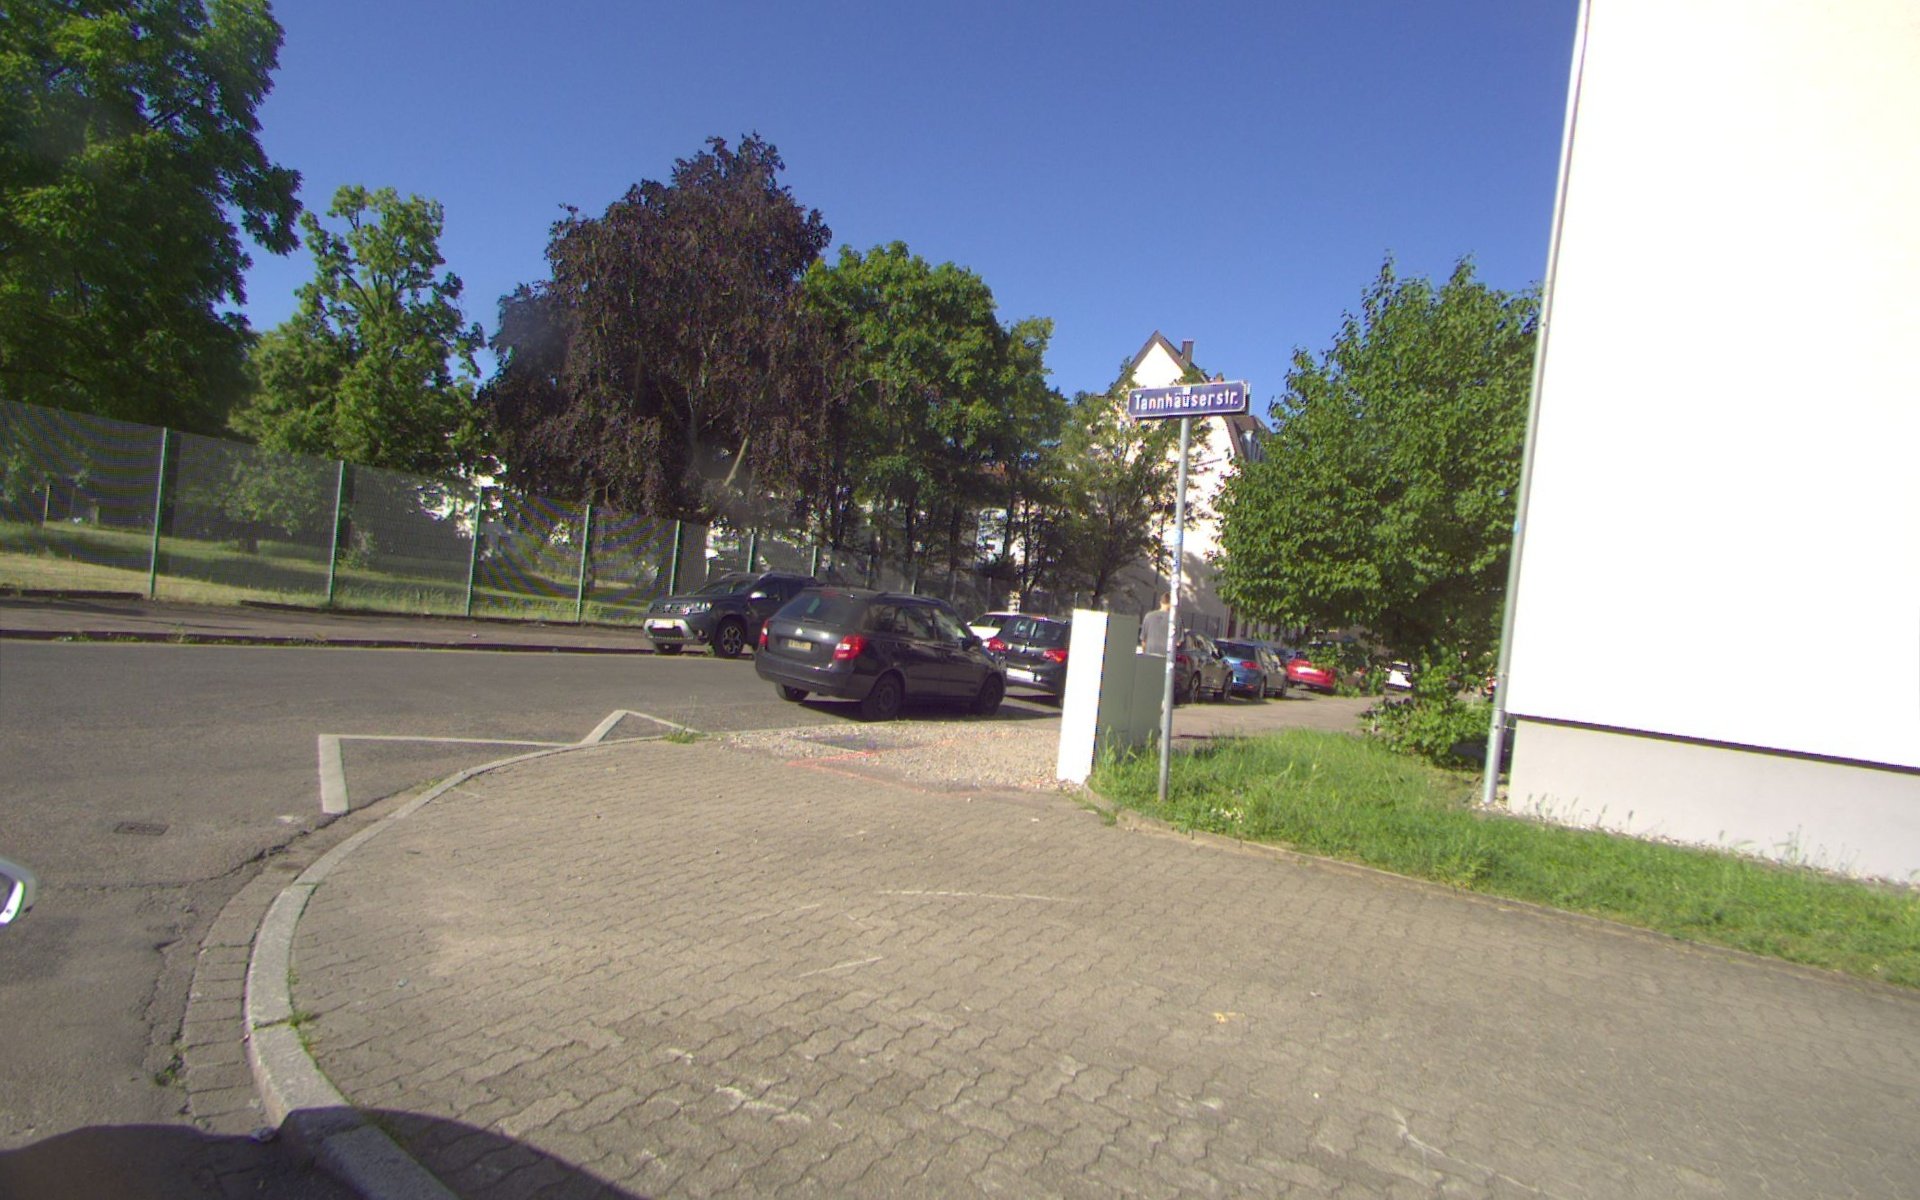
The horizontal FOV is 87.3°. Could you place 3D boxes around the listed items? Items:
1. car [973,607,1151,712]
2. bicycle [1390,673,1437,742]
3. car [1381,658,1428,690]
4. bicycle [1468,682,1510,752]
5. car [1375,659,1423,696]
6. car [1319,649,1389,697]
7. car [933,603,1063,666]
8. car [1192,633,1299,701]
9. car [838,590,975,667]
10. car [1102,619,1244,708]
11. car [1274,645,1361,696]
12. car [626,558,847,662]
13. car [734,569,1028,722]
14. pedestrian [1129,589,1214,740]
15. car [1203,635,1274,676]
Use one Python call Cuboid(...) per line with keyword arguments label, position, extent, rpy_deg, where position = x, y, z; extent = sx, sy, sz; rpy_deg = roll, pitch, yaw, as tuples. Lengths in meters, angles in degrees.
Cuboid(label="car", position=(1.928, 1.075, 17.901), extent=(1.583, 1.502, 3.791), rpy_deg=(7, -1, 30))
Cuboid(label="bicycle", position=(7.589, 1.761, 16.791), extent=(0.478, 1.024, 2.280), rpy_deg=(5, -1, 28))
Cuboid(label="car", position=(24.610, 4.101, 55.685), extent=(1.666, 1.448, 3.737), rpy_deg=(9, 1, 33))
Cuboid(label="bicycle", position=(8.483, 1.832, 16.128), extent=(0.478, 0.972, 2.280), rpy_deg=(5, -1, 28))
Cuboid(label="car", position=(22.353, 3.924, 51.152), extent=(1.662, 1.481, 3.814), rpy_deg=(12, 2, 29))
Cuboid(label="car", position=(16.297, 3.013, 41.507), extent=(1.873, 1.641, 4.594), rpy_deg=(6, -1, 30))
Cuboid(label="car", position=(1.150, 1.003, 28.273), extent=(1.770, 1.462, 4.111), rpy_deg=(4, -2, 31))
Cuboid(label="car", position=(7.770, 1.814, 27.090), extent=(1.728, 1.499, 4.074), rpy_deg=(7, 0, 29))
Cuboid(label="car", position=(-1.221, 0.741, 24.528), extent=(1.543, 1.662, 3.609), rpy_deg=(2, -3, 30))
Cuboid(label="car", position=(4.788, 1.407, 22.186), extent=(1.728, 1.578, 4.248), rpy_deg=(7, 0, 29))
Cuboid(label="car", position=(12.648, 2.509, 35.426), extent=(1.730, 1.461, 4.512), rpy_deg=(6, -1, 33))
Cuboid(label="car", position=(-4.140, 0.261, 19.294), extent=(1.690, 1.683, 4.157), rpy_deg=(3, -3, 30))
Cuboid(label="car", position=(-0.846, 0.645, 13.132), extent=(1.596, 1.567, 4.077), rpy_deg=(6, -1, 32))
Cuboid(label="pedestrian", position=(2.691, 0.815, 12.765), extent=(0.636, 1.793, 0.839), rpy_deg=(7, 1, 30))
Cuboid(label="car", position=(13.304, 2.658, 47.831), extent=(1.854, 1.683, 4.921), rpy_deg=(4, -2, 32))
